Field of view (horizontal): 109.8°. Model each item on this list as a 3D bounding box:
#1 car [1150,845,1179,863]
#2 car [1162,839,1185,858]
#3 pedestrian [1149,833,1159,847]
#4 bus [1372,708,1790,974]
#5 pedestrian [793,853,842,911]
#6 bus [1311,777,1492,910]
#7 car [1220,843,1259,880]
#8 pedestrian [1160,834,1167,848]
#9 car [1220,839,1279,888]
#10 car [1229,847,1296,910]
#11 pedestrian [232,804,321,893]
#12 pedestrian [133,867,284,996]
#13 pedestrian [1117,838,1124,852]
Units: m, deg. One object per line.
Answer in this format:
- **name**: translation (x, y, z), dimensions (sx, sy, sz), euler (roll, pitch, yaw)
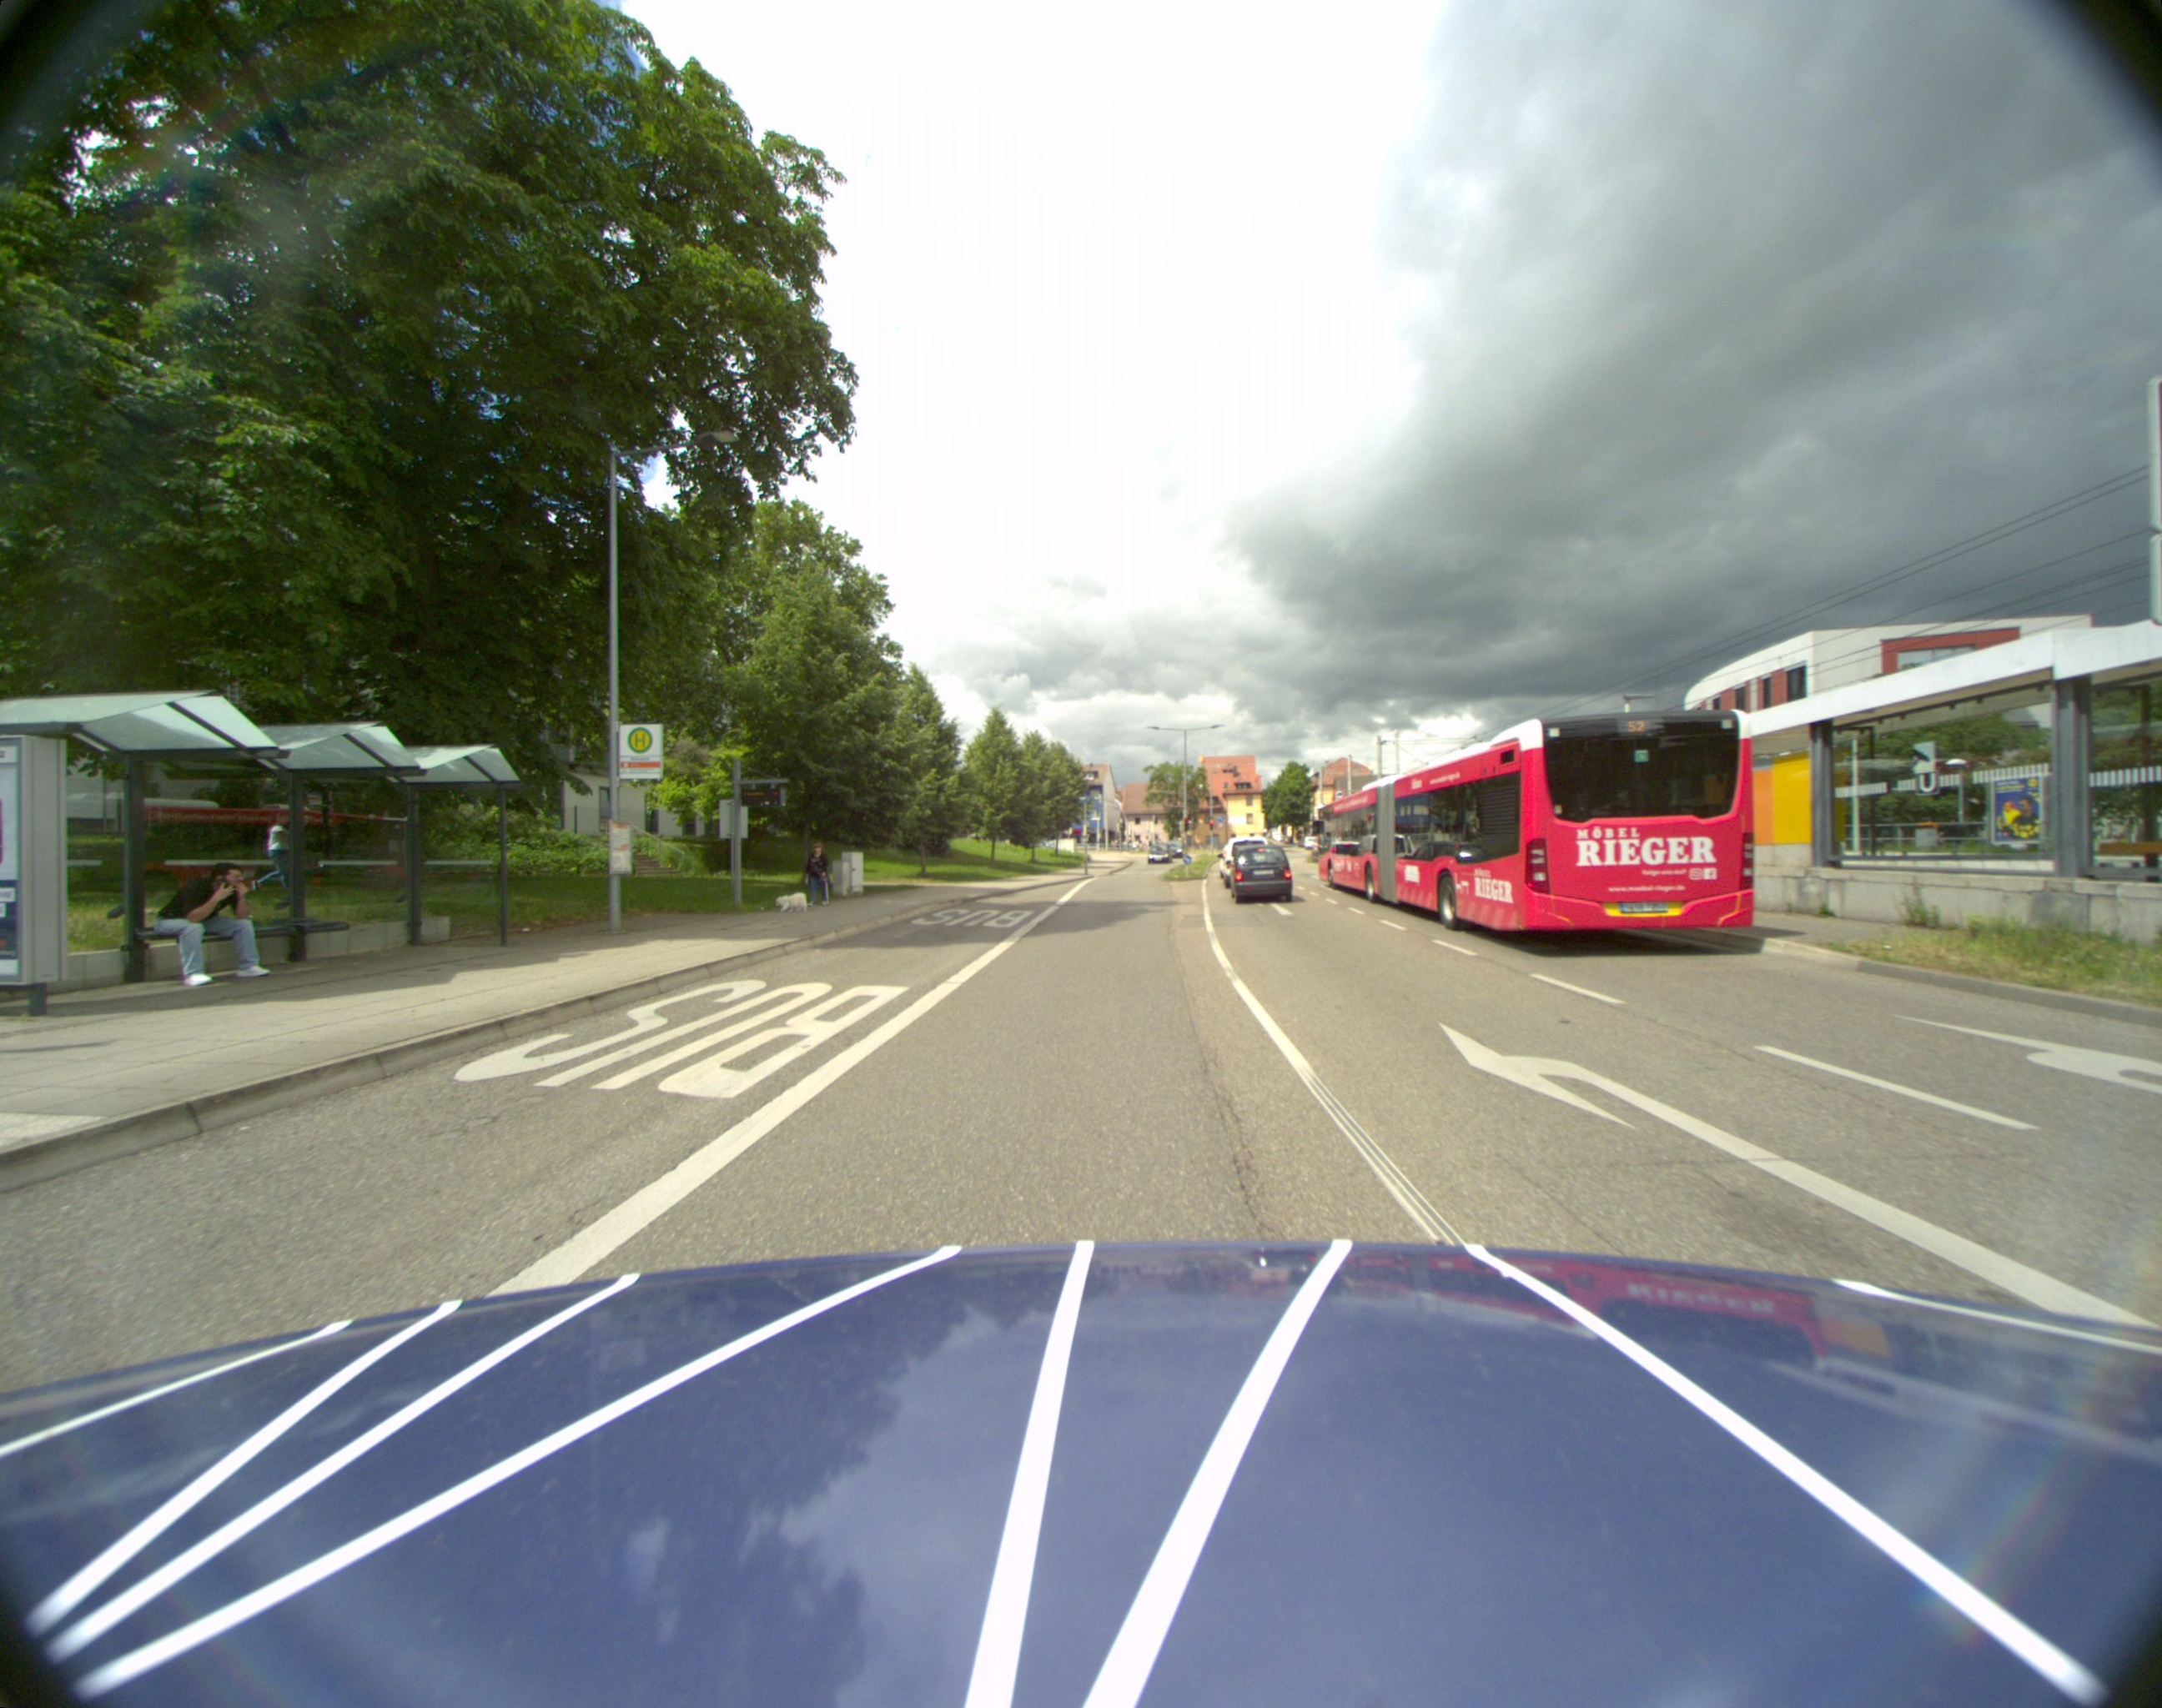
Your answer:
- **car**: translation (6.739, 0.031, 60.832), dimensions (1.880, 1.420, 4.004), euler (-1, -1, 12)
- **car**: translation (8.421, -0.502, 69.217), dimensions (1.997, 1.639, 4.423), euler (-1, -1, 6)
- **pedestrian**: translation (9.508, -1.800, 98.957), dimensions (0.969, 1.830, 0.823), euler (3, 0, -35)
- **bus**: translation (7.496, -0.182, 13.347), dimensions (2.731, 3.052, 8.969), euler (0, 1, 10)
- **pedestrian**: translation (-6.594, 0.688, 19.057), dimensions (0.821, 1.417, 0.830), euler (0, 2, 9)
- **bus**: translation (8.951, -0.293, 22.631), dimensions (2.731, 3.091, 9.710), euler (0, 1, 9)
- **car**: translation (7.611, 0.302, 36.532), dimensions (1.702, 1.639, 4.082), euler (-1, 0, 12)
- **pedestrian**: translation (10.709, -1.670, 98.793), dimensions (0.693, 1.740, 0.751), euler (0, 1, -4)
- **car**: translation (6.257, 0.413, 28.639), dimensions (1.765, 1.652, 4.511), euler (0, -3, 7)
- **car**: translation (5.019, 0.622, 21.403), dimensions (1.532, 1.542, 3.734), euler (-2, 1, 9)
- **pedestrian**: translation (-16.324, -0.118, 15.425), dimensions (0.987, 1.750, 0.859), euler (0, 2, 19)
- **pedestrian**: translation (-9.007, 0.766, 7.865), dimensions (0.828, 1.251, 0.686), euler (0, 1, 12)
- **pedestrian**: translation (5.272, -1.203, 101.053), dimensions (0.753, 1.740, 0.586), euler (0, 2, -18)
